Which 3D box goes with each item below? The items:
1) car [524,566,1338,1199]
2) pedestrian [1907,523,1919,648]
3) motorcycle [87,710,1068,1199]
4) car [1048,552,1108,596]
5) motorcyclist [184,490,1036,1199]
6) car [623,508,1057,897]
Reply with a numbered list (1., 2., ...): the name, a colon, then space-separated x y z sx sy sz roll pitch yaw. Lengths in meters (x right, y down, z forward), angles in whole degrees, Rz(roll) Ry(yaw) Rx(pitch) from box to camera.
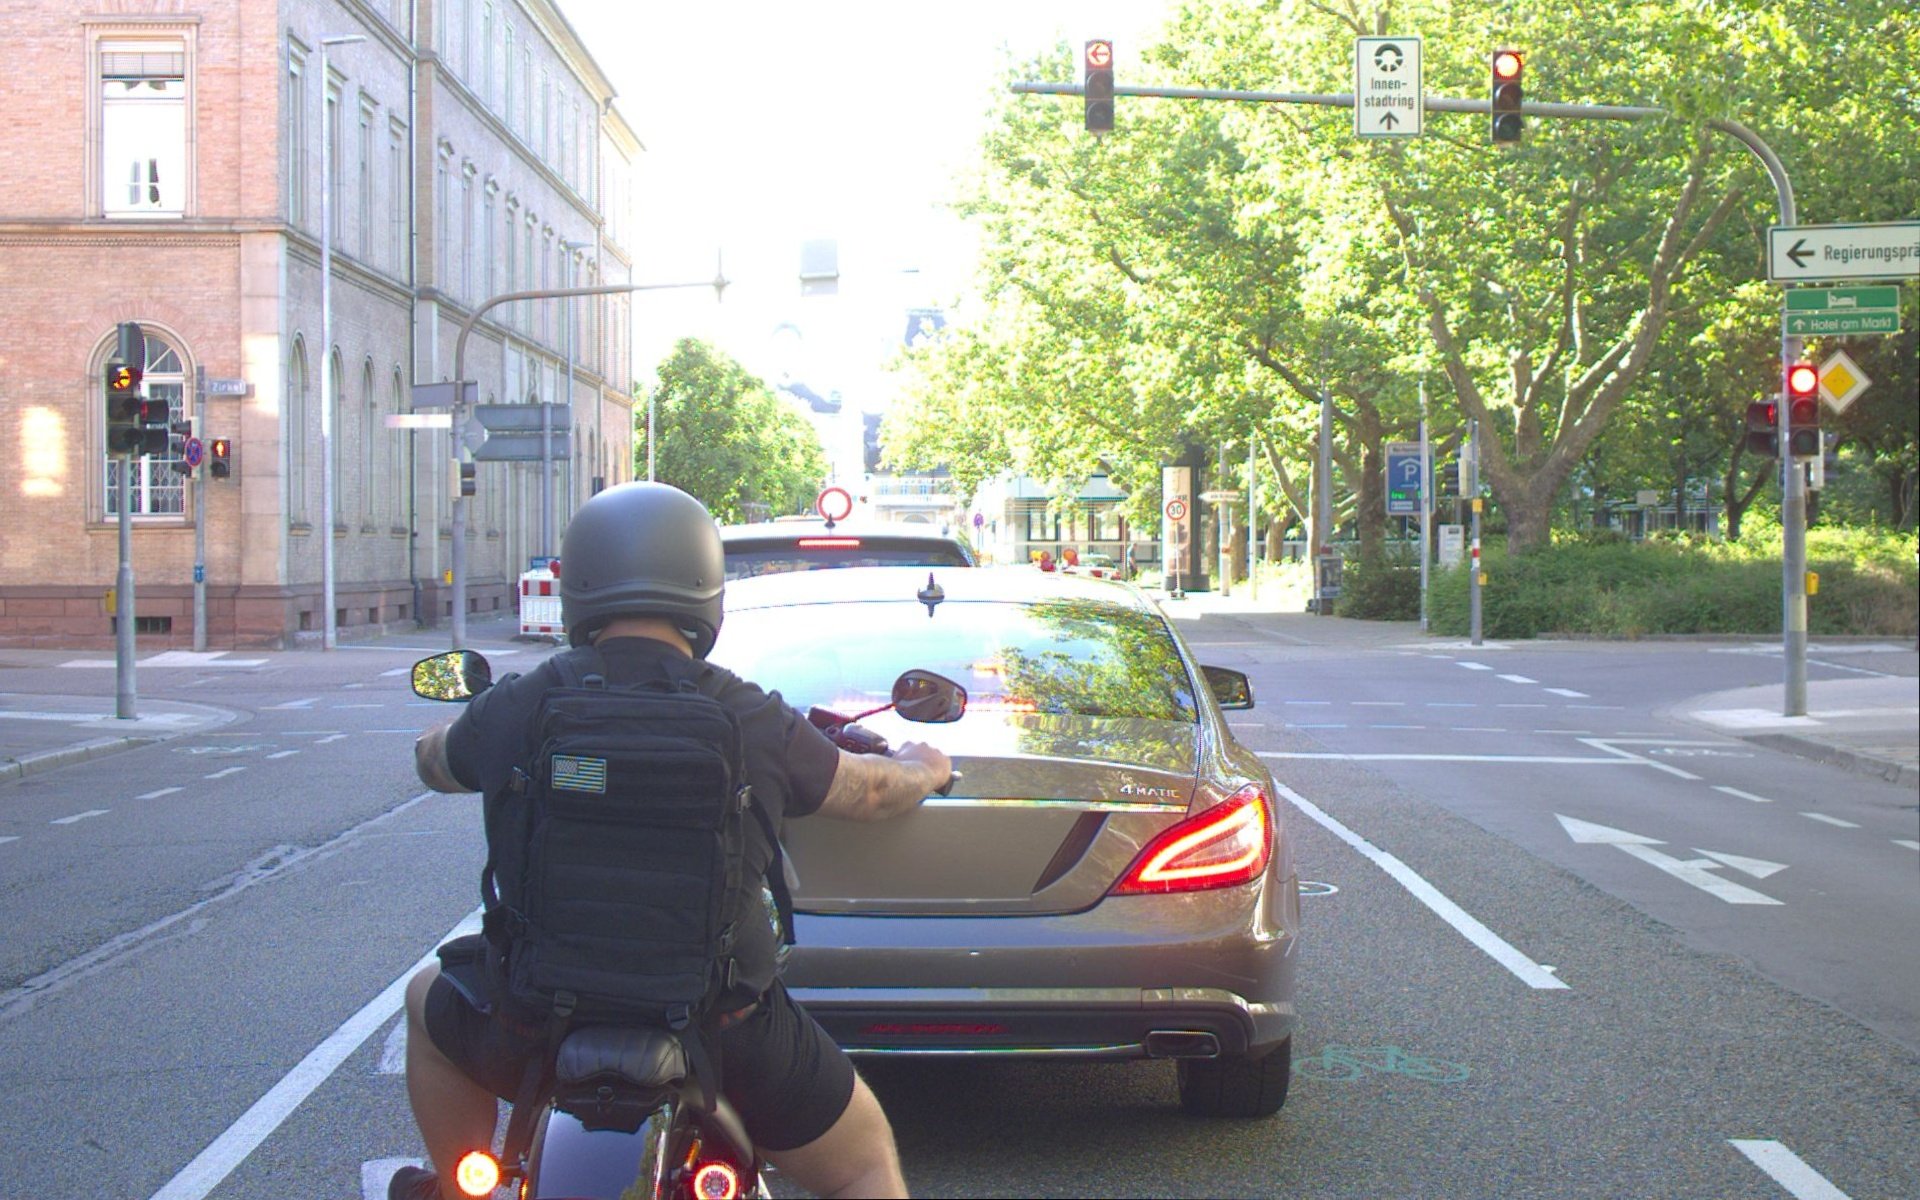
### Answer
1. car: -0.087 0.634 9.685 1.822 1.432 3.806 1 1 -1
2. pedestrian: 14.010 -0.202 49.297 0.736 1.772 0.729 1 0 20
3. motorcycle: -0.470 0.833 5.521 1.118 1.203 2.212 1 1 6
4. car: 3.517 -0.783 102.973 1.631 1.255 3.716 1 1 -1
5. motorcyclist: -0.485 0.629 5.297 1.099 1.560 1.071 1 0 6
6. car: -0.545 0.427 16.963 1.863 1.672 4.000 1 1 -1
